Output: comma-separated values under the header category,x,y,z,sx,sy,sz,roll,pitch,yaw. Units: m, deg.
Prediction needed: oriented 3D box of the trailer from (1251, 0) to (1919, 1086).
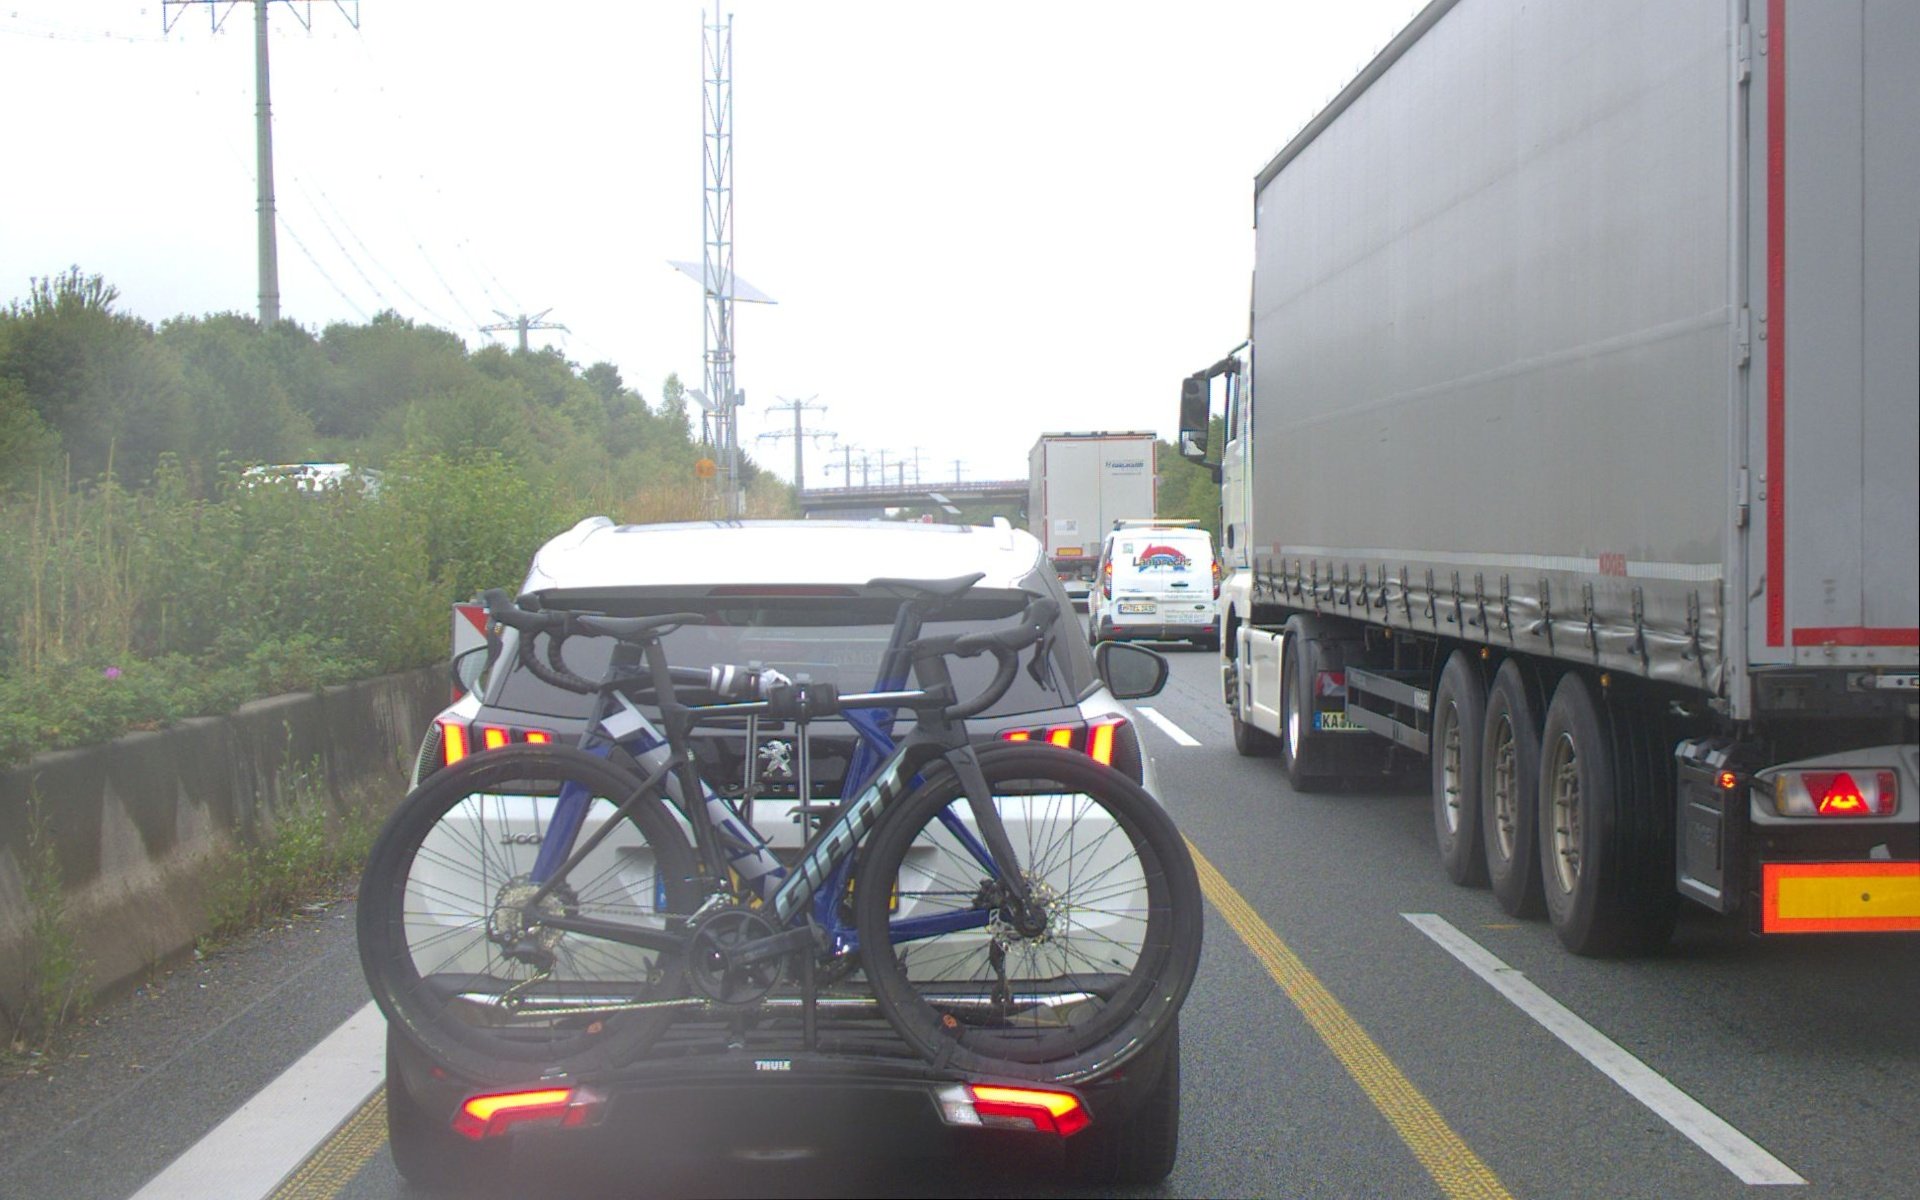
category,x,y,z,sx,sy,sz,roll,pitch,yaw
trailer,3.403,-0.845,16.332,2.706,4.132,13.733,0,1,-1

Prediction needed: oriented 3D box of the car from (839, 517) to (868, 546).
category,x,y,z,sx,sy,sz,roll,pitch,yaw
car,-7.163,-4.626,231.491,1.931,1.904,4.001,0,2,-1

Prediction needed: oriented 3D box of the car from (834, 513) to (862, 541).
category,x,y,z,sx,sy,sz,roll,pitch,yaw
car,-7.941,-5.200,244.141,1.931,1.966,4.001,0,2,-1

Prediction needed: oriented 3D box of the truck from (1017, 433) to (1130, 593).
category,x,y,z,sx,sy,sz,roll,pitch,yaw
truck,2.926,-2.260,90.420,2.660,4.062,6.539,0,1,-1

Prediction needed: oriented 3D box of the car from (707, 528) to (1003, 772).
category,x,y,z,sx,sy,sz,roll,pitch,yaw
car,-0.682,0.278,23.499,1.850,1.525,4.000,0,1,-1

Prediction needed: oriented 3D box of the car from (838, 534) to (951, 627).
category,x,y,z,sx,sy,sz,roll,pitch,yaw
car,-1.093,-0.354,58.015,1.850,1.525,4.000,0,1,-1

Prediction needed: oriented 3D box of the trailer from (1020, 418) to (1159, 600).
category,x,y,z,sx,sy,sz,roll,pitch,yaw
trailer,3.004,-2.151,83.416,2.692,4.062,13.634,0,1,-1

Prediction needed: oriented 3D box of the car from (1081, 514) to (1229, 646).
category,x,y,z,sx,sy,sz,roll,pitch,yaw
car,2.799,-0.323,50.218,1.829,1.833,4.656,0,1,-1

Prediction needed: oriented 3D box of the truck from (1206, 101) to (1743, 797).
category,x,y,z,sx,sy,sz,roll,pitch,yaw
truck,3.259,-0.943,23.259,2.706,4.124,5.691,0,1,-1

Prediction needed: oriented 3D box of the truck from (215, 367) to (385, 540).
category,x,y,z,sx,sy,sz,roll,pitch,yaw
truck,-16.472,-3.585,86.262,2.785,4.010,7.234,-3,1,-1

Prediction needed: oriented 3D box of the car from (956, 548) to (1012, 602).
category,x,y,z,sx,sy,sz,roll,pitch,yaw
car,0.920,-0.971,133.123,2.110,1.966,4.001,0,2,-1

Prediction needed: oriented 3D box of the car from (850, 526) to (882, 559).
category,x,y,z,sx,sy,sz,roll,pitch,yaw
car,-5.810,-3.580,213.681,1.931,1.966,4.001,0,2,-1

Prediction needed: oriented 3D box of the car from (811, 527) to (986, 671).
category,x,y,z,sx,sy,sz,roll,pitch,yaw
car,-0.676,-0.049,38.488,1.850,1.525,4.000,0,1,-1

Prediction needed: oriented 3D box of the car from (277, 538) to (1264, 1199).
category,x,y,z,sx,sy,sz,roll,pitch,yaw
car,-0.384,0.605,8.842,1.850,1.525,4.769,0,1,-1
